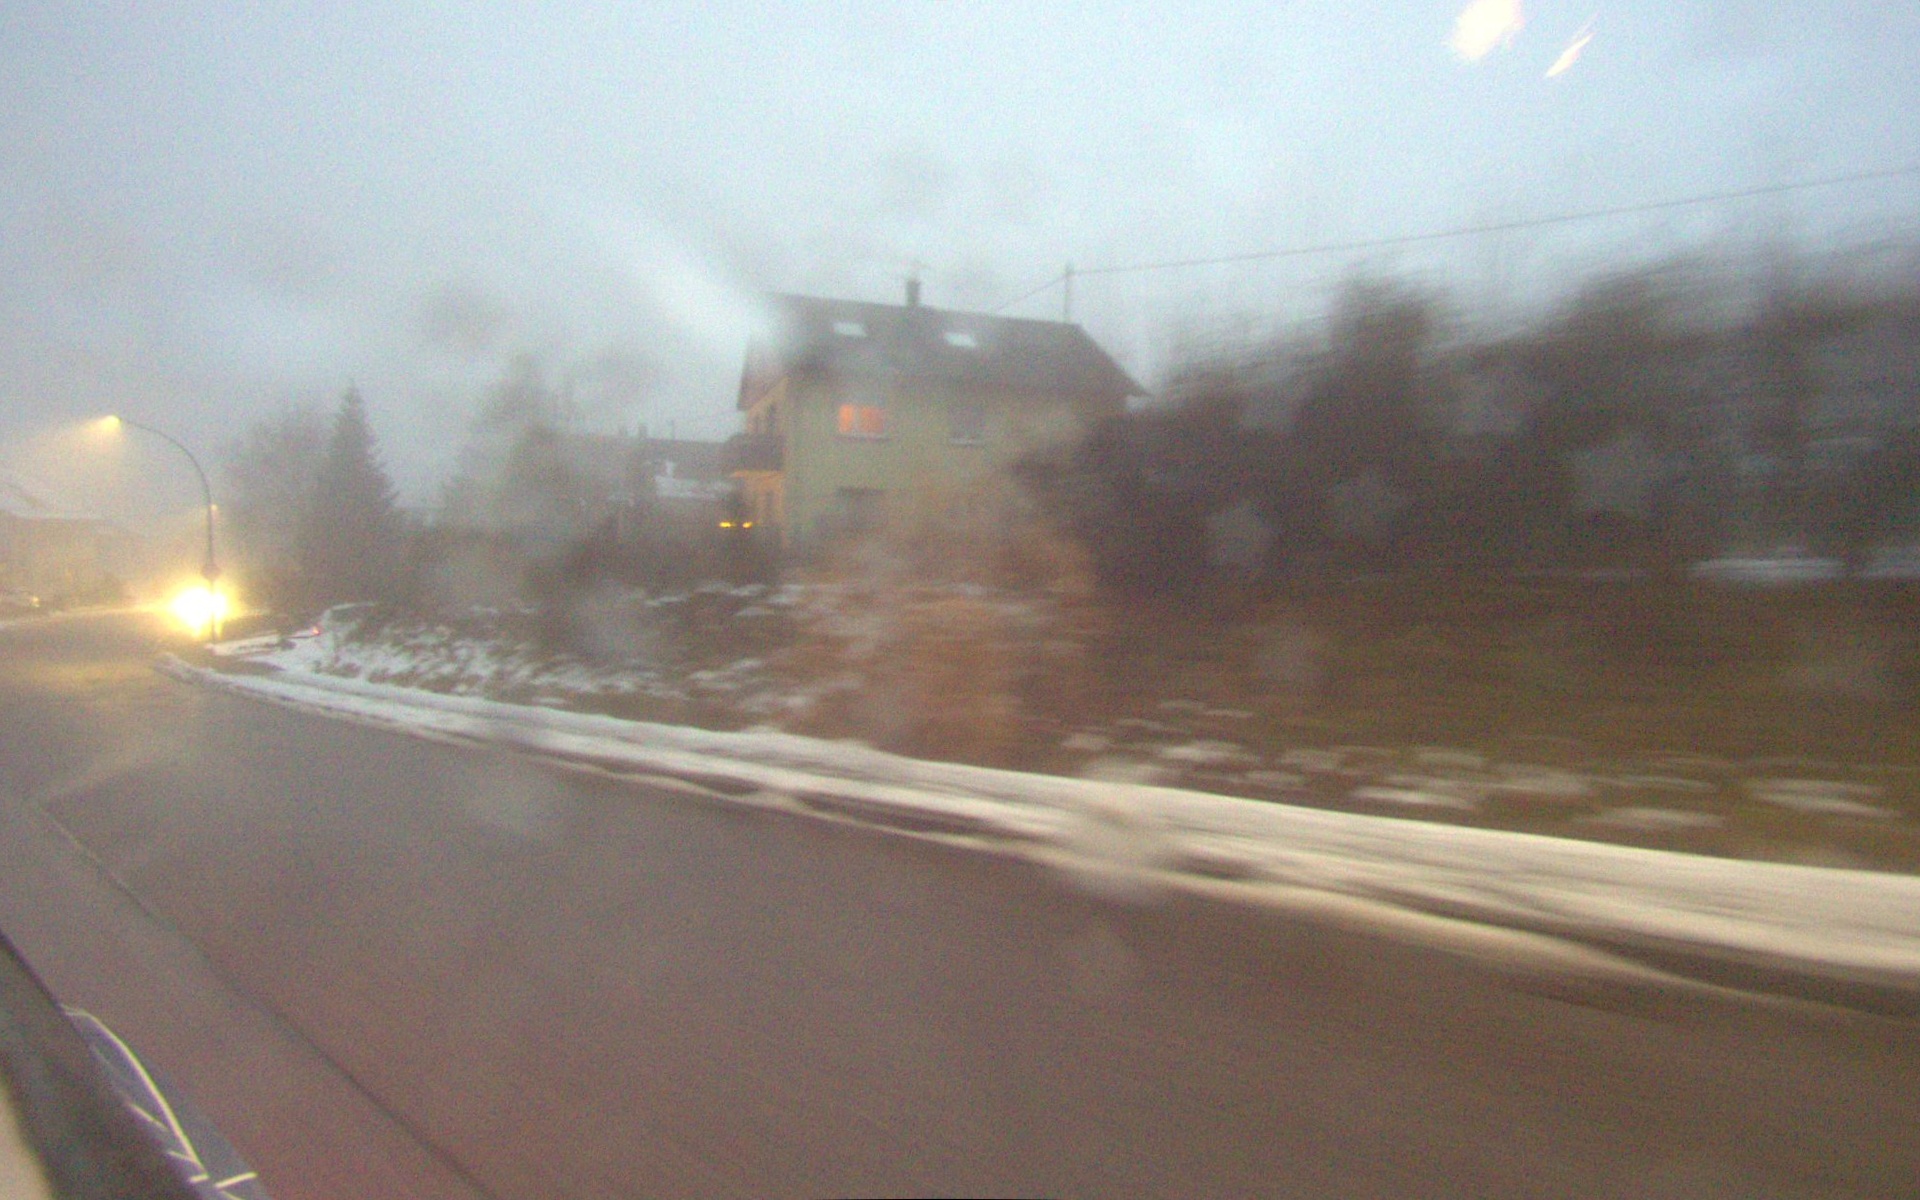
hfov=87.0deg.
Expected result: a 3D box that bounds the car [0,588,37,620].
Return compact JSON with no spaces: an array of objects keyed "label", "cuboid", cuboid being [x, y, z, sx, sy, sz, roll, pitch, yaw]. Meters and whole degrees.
[{"label":"car","cuboid":[-59.321,0.221,61.646,4.146,1.872,1.918,2,1,-20]}]

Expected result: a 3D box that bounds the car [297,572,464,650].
[{"label":"car","cuboid":[-17.450,0.273,30.700,3.934,1.619,1.910,-9,6,-20]}]
